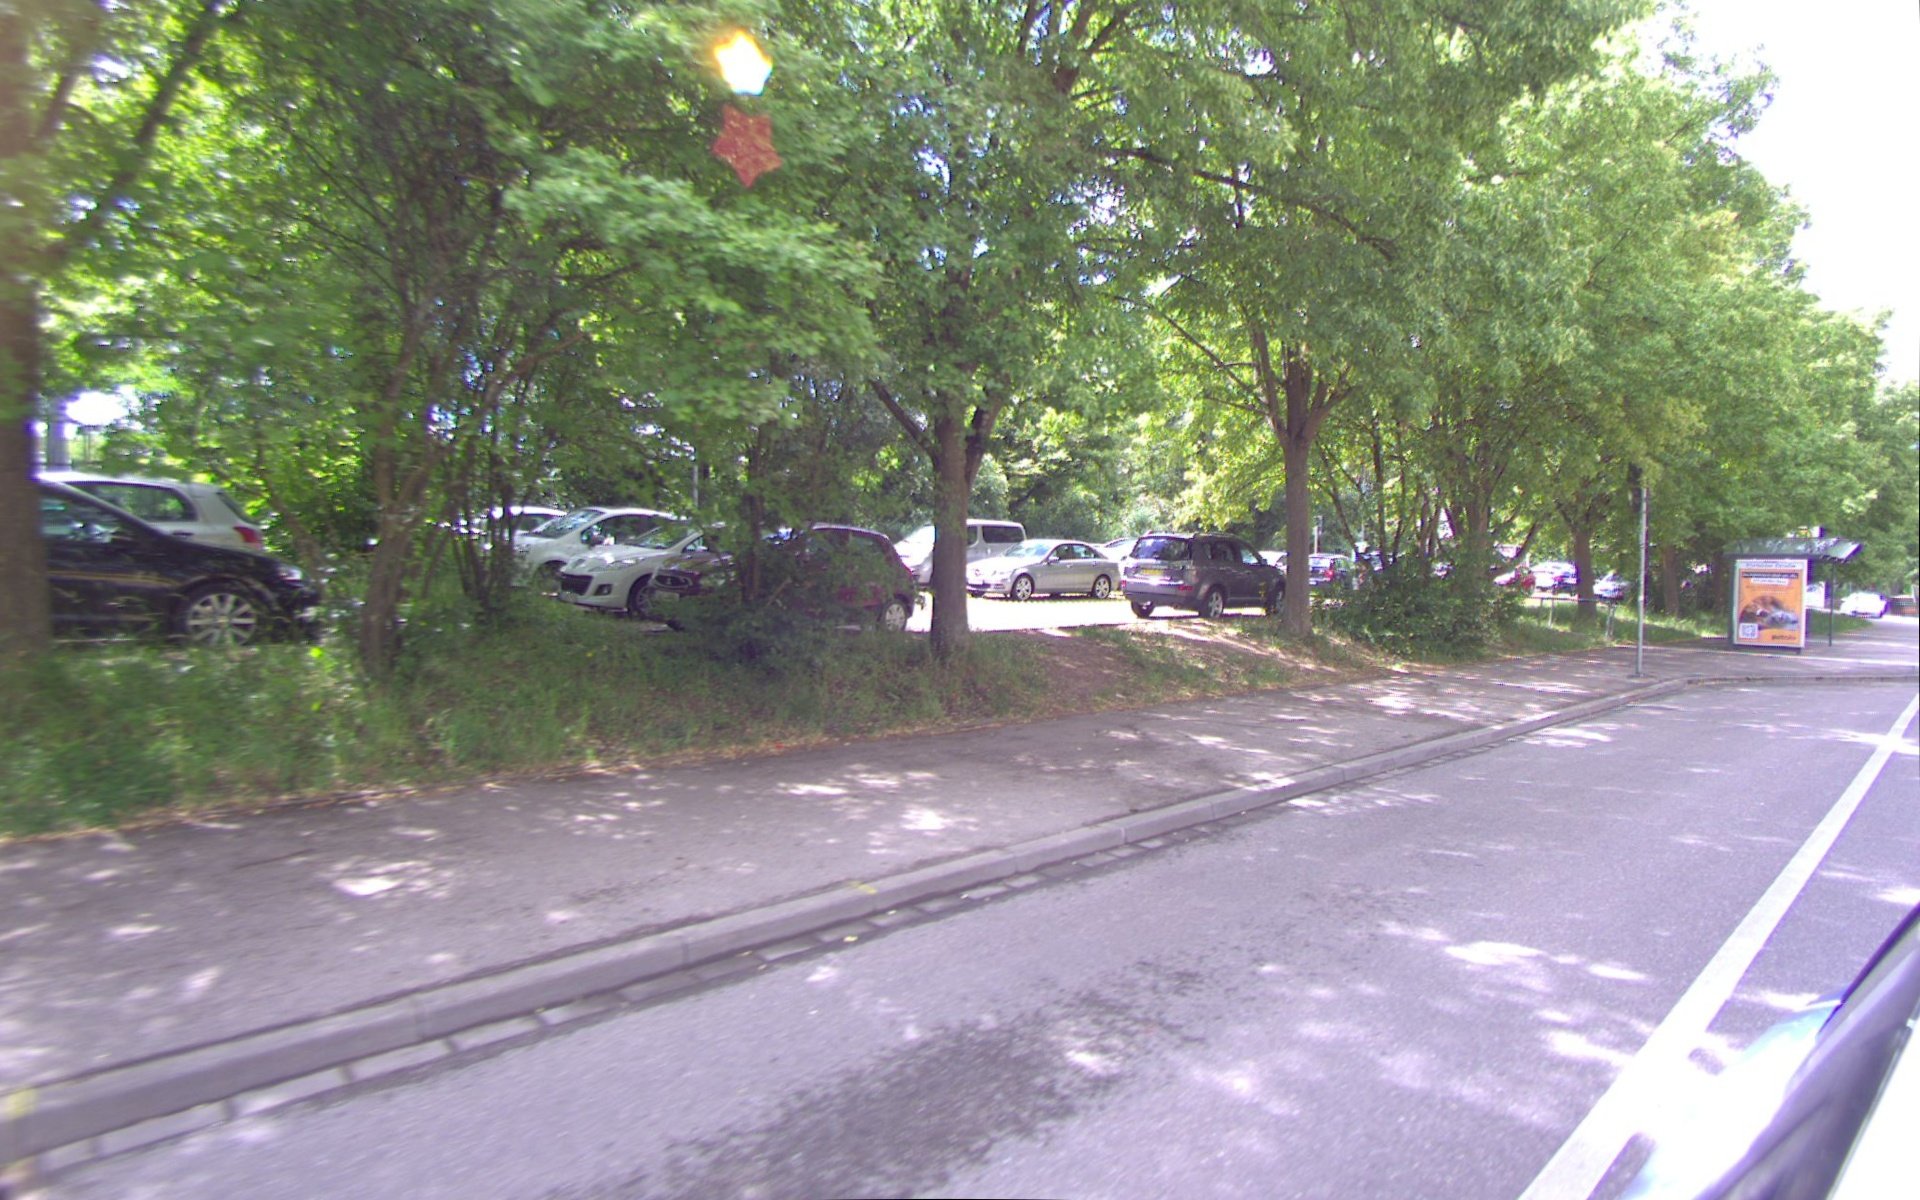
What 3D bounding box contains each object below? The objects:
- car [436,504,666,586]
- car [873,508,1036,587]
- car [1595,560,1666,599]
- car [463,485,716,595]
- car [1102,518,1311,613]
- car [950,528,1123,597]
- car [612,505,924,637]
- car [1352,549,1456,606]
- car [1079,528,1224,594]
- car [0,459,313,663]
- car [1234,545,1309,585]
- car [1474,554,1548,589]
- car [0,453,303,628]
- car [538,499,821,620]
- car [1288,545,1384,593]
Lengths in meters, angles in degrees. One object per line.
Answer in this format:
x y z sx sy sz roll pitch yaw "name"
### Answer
-7.573 -1.007 18.887 3.560 1.333 1.790 0 5 -43 "car"
-0.080 -1.309 26.036 4.137 1.811 1.616 0 5 -44 "car"
29.116 -0.866 43.880 4.070 1.532 1.629 0 5 -44 "car"
-6.110 -0.961 16.857 3.560 1.633 1.695 0 4 -43 "car"
5.036 -0.637 20.255 4.645 1.683 1.848 0 1 -44 "car"
1.900 -0.867 24.126 4.280 1.459 1.615 0 4 -44 "car"
-2.321 -0.368 12.969 1.607 1.430 3.765 4 3 39 "car"
14.972 -0.813 34.015 4.194 1.714 1.690 -3 7 -45 "car"
5.304 -1.039 27.672 4.355 1.573 1.473 1 4 -42 "car"
-7.618 -0.335 8.032 3.924 1.482 1.799 -1 3 -44 "car"
11.387 -1.303 36.986 2.814 1.318 1.409 -3 7 -45 "car"
26.274 -1.324 48.204 4.469 1.495 1.755 0 4 -44 "car"
-8.984 -0.586 10.030 3.924 1.585 1.636 -1 3 -44 "car"
-4.002 -0.584 14.715 3.560 1.526 1.695 0 4 -43 "car"
13.193 -1.126 35.454 3.733 1.509 1.690 -3 7 -45 "car"
